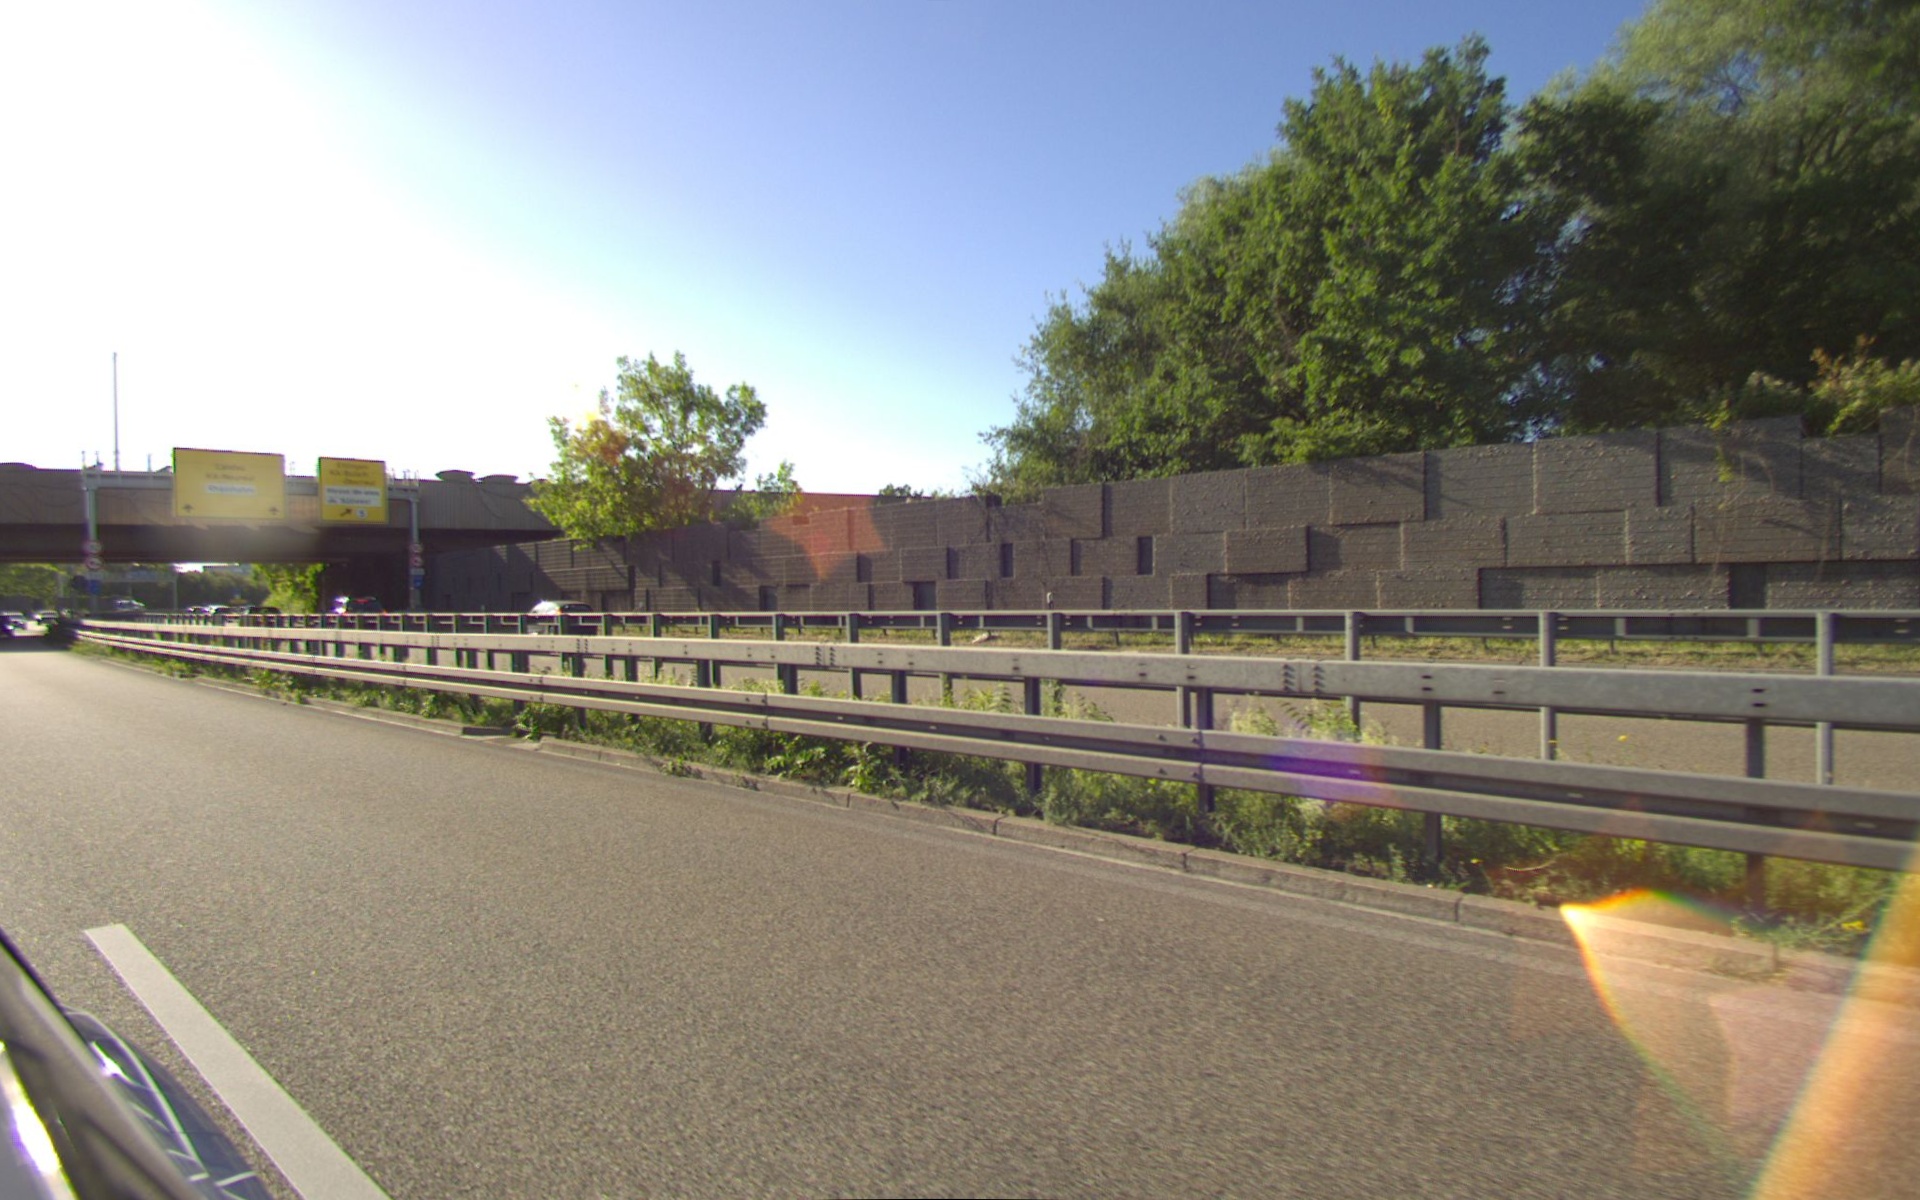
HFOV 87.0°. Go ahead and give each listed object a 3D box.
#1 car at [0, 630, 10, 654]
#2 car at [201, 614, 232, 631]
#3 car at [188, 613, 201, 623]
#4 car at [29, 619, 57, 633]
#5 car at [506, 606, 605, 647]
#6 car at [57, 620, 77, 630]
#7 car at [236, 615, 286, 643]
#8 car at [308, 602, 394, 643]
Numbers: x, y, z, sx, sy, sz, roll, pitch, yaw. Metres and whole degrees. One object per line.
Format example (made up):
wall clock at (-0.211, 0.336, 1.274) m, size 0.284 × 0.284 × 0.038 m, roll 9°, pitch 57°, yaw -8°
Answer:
car at (-60.928, 2.631, 63.386) m, size 1.970 × 1.425 × 4.834 m, roll -2°, pitch 0°, yaw -44°
car at (-74.013, 2.277, 100.659) m, size 1.970 × 1.608 × 4.431 m, roll -1°, pitch 0°, yaw -43°
car at (-144.887, 3.396, 191.564) m, size 1.968 × 1.653 × 4.731 m, roll -2°, pitch 0°, yaw -37°
car at (-104.005, 2.961, 114.776) m, size 1.968 × 1.425 × 4.840 m, roll -2°, pitch 0°, yaw -38°
car at (-15.082, 0.976, 37.628) m, size 4.135 × 1.432 × 1.877 m, roll -2°, pitch -2°, yaw 43°
car at (-147.230, 4.112, 166.906) m, size 1.967 × 1.425 × 4.842 m, roll -2°, pitch 0°, yaw -36°
car at (-42.513, 1.758, 61.525) m, size 4.396 × 1.585 × 1.529 m, roll -2°, pitch 1°, yaw 43°
car at (-26.373, 0.992, 43.749) m, size 4.808 × 1.585 × 1.877 m, roll -2°, pitch 1°, yaw 43°
